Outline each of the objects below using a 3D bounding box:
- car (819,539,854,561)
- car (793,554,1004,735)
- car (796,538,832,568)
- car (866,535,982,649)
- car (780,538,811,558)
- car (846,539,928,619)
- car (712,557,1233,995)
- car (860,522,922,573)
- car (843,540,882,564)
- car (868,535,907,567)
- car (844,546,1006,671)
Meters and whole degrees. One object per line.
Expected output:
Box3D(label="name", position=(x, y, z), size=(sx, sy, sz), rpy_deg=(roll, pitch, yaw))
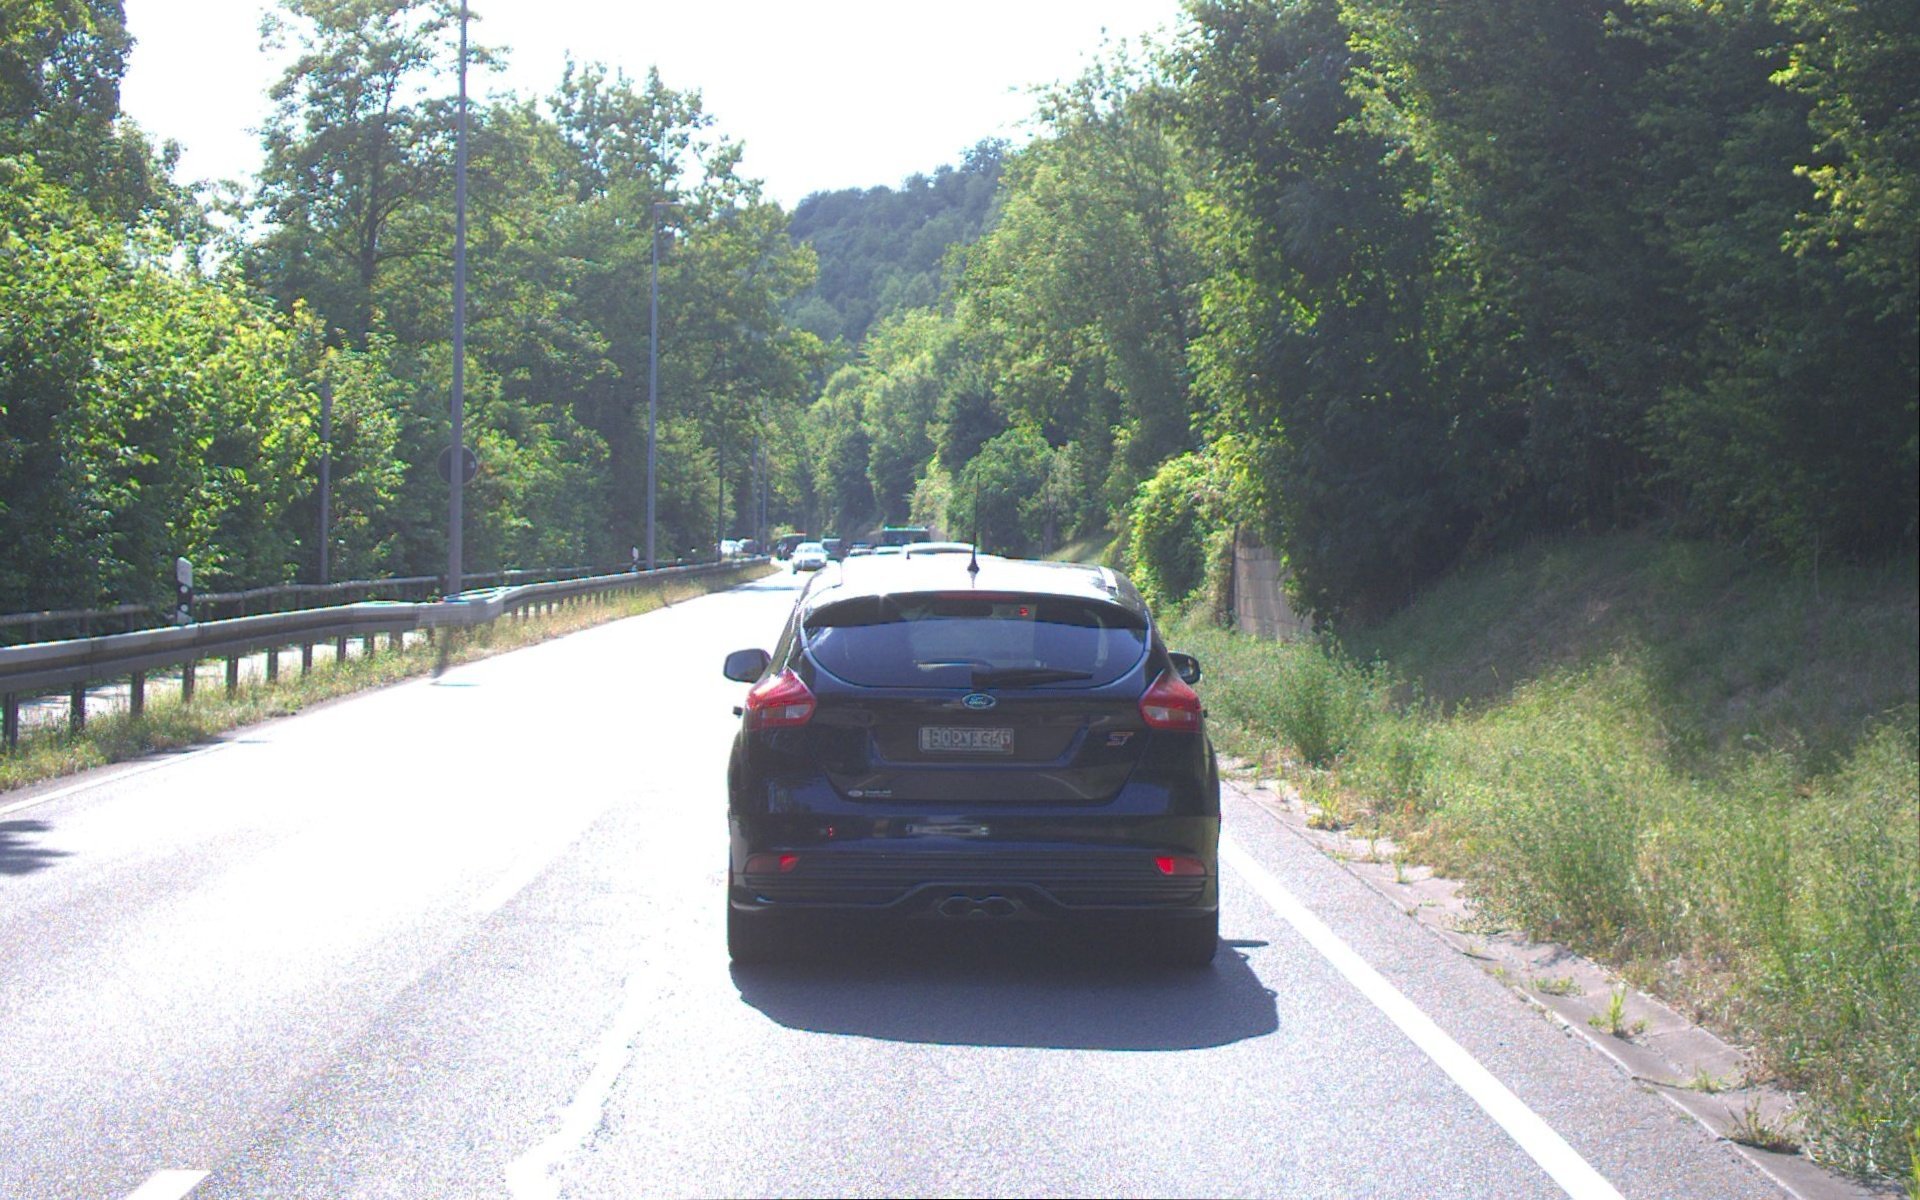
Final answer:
Box3D(label="car", position=(-8.602, -3.515, 239.392), size=(1.993, 1.514, 4.001), rpy_deg=(0, 1, -8))
Box3D(label="car", position=(-0.460, 0.326, 29.229), size=(1.661, 1.413, 4.000), rpy_deg=(0, 1, 1))
Box3D(label="car", position=(-7.095, -2.292, 166.914), size=(1.623, 1.372, 4.048), rpy_deg=(-1, 1, -1))
Box3D(label="car", position=(-0.529, -0.149, 50.340), size=(1.631, 1.590, 4.000), rpy_deg=(0, 1, -1))
Box3D(label="car", position=(-12.229, -3.872, 255.656), size=(1.993, 1.514, 4.001), rpy_deg=(0, 1, -8))
Box3D(label="car", position=(-1.467, -0.447, 70.440), size=(1.631, 1.590, 4.000), rpy_deg=(0, 1, -1))
Box3D(label="car", position=(0.022, 0.568, 13.568), size=(1.739, 1.451, 4.000), rpy_deg=(1, 1, -1))
Box3D(label="car", position=(-2.451, -1.862, 121.268), size=(1.862, 1.774, 4.001), rpy_deg=(0, 1, -6))
Box3D(label="car", position=(-6.221, -3.036, 218.942), size=(1.993, 1.514, 4.001), rpy_deg=(0, 1, -8))
Box3D(label="car", position=(-3.443, -2.339, 164.740), size=(1.819, 1.514, 4.000), rpy_deg=(0, 1, -1))
Box3D(label="car", position=(-0.411, 0.066, 40.401), size=(1.804, 1.387, 4.000), rpy_deg=(0, 1, -1))
